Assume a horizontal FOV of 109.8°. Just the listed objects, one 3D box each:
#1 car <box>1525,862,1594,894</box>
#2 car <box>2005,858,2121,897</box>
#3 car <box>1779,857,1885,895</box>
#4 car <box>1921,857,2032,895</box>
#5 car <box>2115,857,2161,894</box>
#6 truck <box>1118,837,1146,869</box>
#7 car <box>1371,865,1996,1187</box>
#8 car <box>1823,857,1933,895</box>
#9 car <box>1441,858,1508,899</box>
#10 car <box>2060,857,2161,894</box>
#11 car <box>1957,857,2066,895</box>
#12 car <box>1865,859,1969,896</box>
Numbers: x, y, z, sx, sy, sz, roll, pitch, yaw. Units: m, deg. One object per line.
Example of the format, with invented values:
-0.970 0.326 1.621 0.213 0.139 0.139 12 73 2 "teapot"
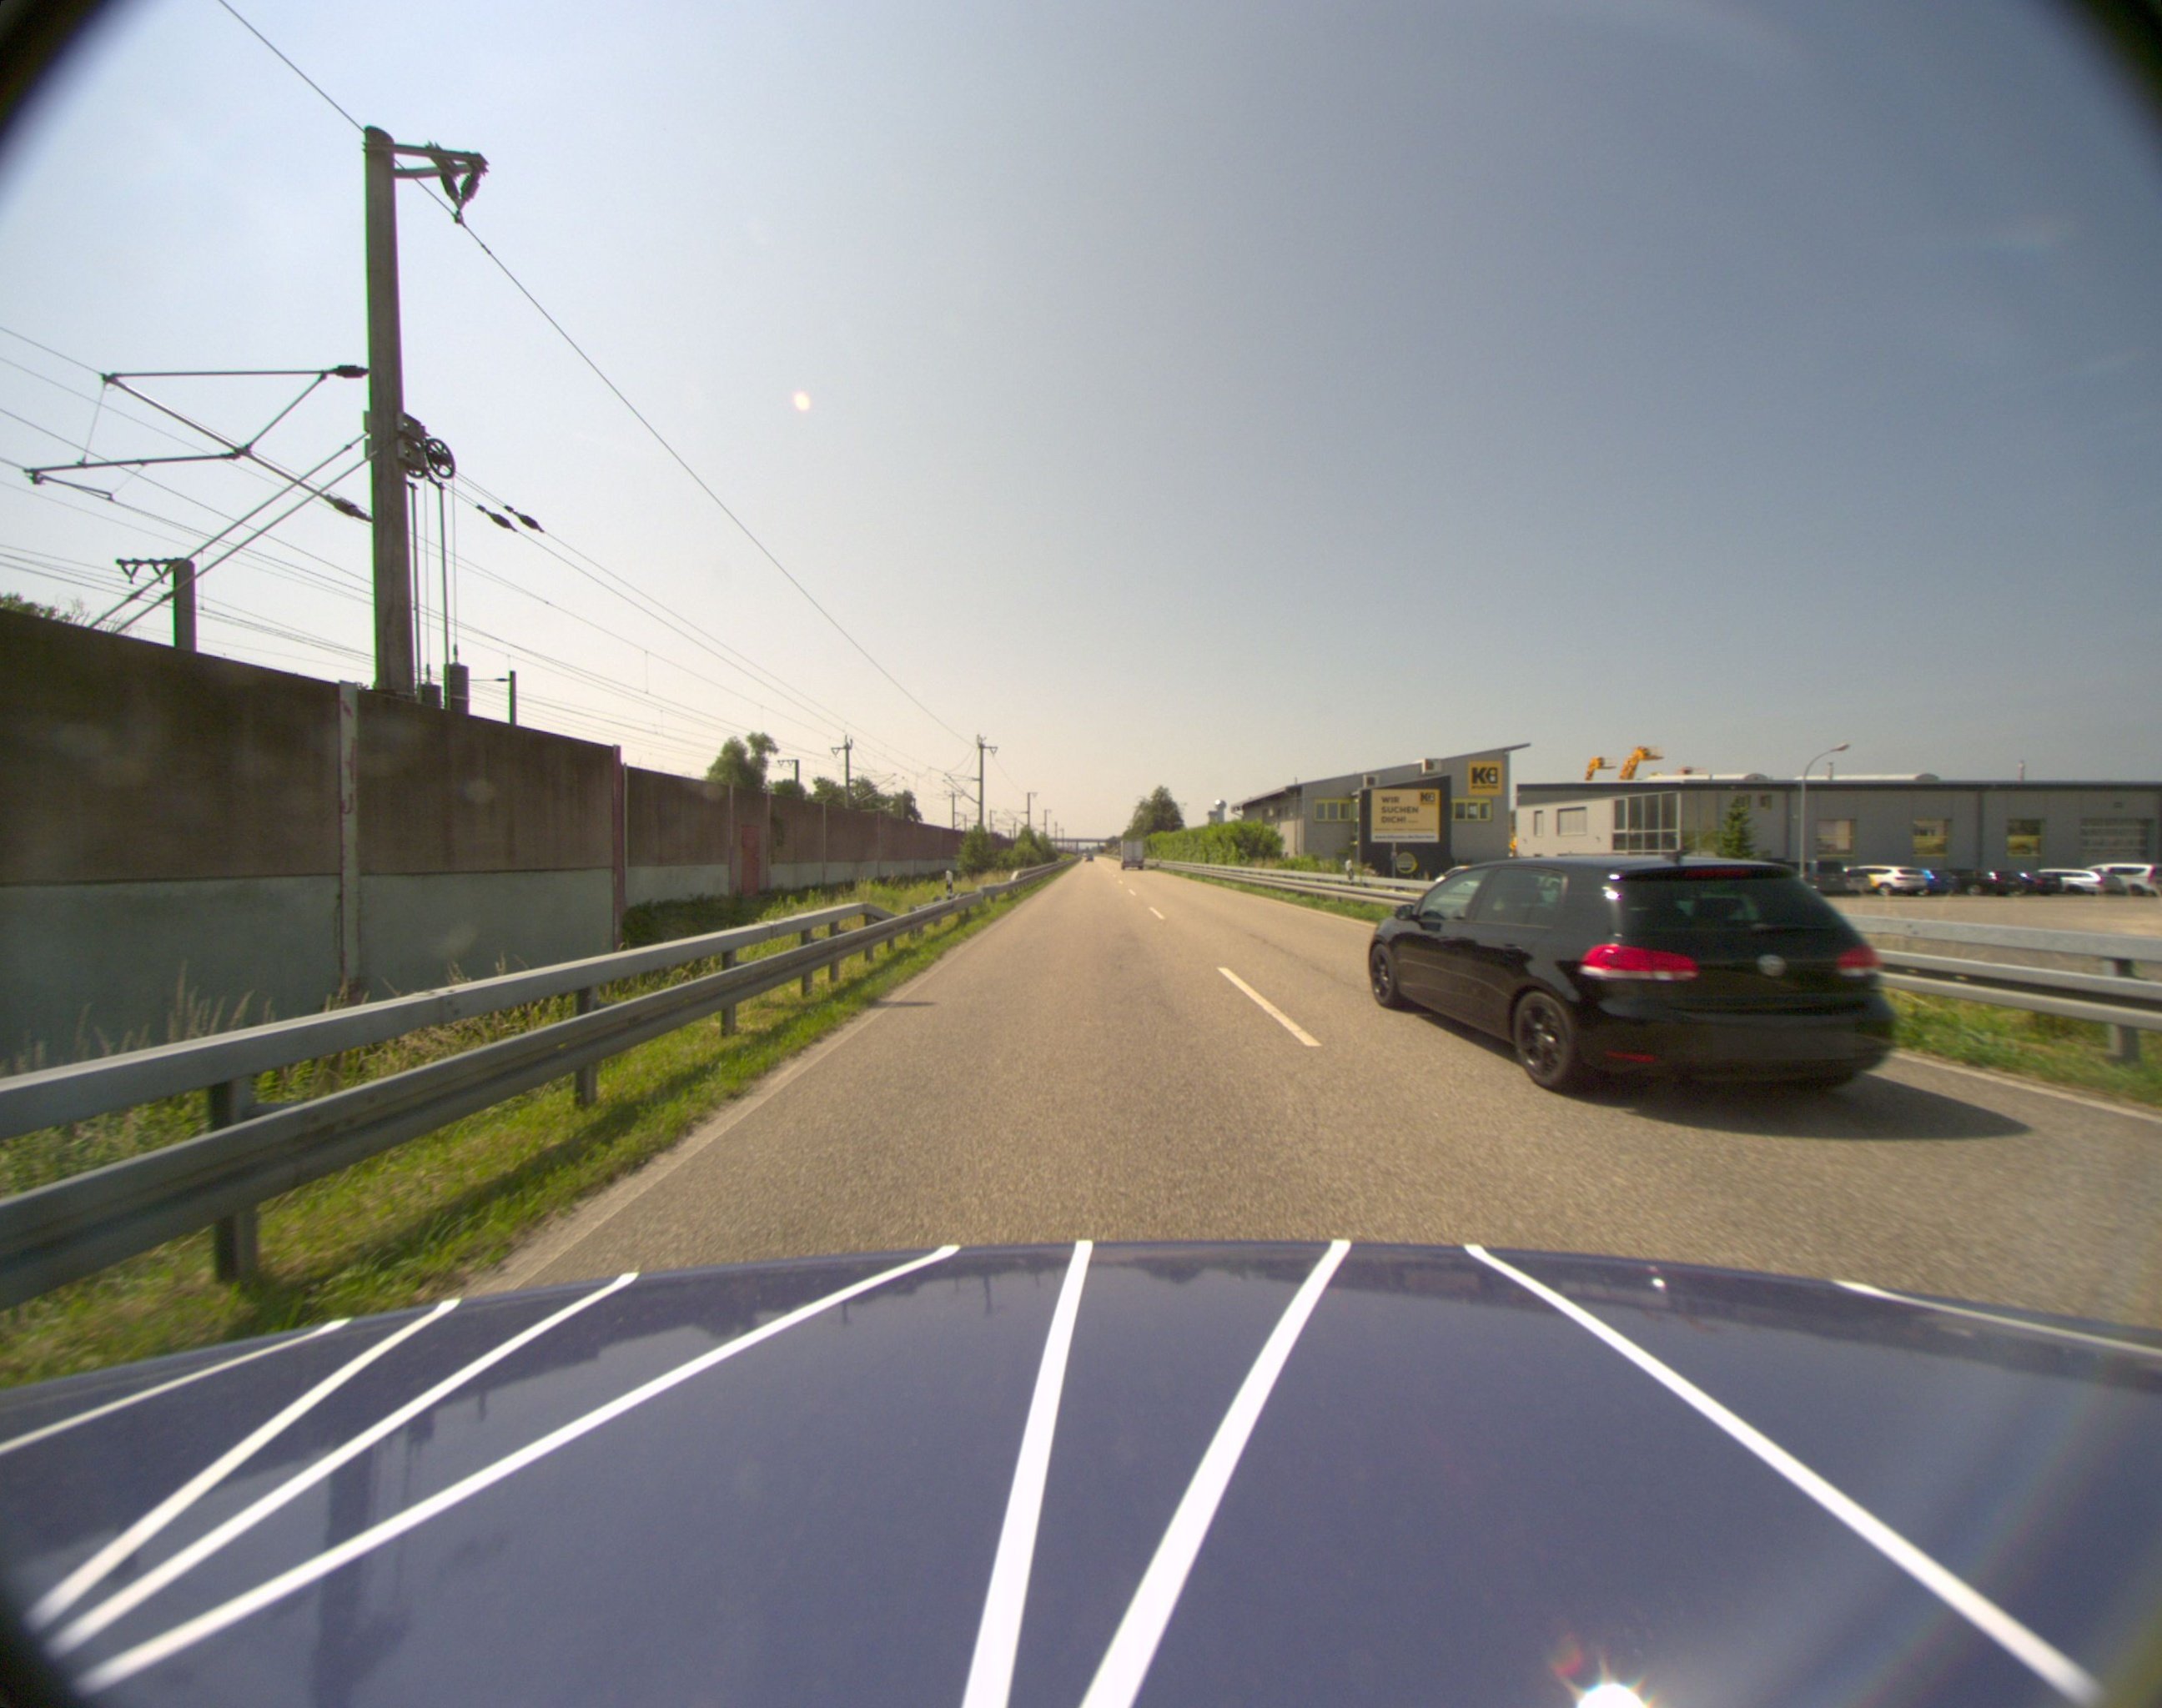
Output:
26.510 1.298 42.199 1.555 1.664 3.311 0 1 -4 "car"
55.711 1.286 43.215 1.834 2.002 3.689 2 0 1 "car"
42.123 1.199 42.777 1.999 2.002 3.999 0 1 0 "car"
49.974 1.187 42.510 1.834 2.002 3.689 2 0 1 "car"
62.631 1.214 43.554 1.834 2.002 3.600 -3 0 1 "car"
5.034 -0.136 75.570 2.242 2.950 6.317 -2 1 -1 "truck"
3.545 0.838 5.416 1.544 1.426 3.654 -2 0 0 "car"
44.817 1.200 42.862 1.999 2.002 3.999 0 1 -1 "car"
20.598 1.225 39.933 1.476 2.002 3.483 2 0 -5 "car"
59.931 1.193 43.746 1.999 2.002 3.999 0 1 0 "car"
52.644 1.181 43.088 1.834 2.002 3.527 2 0 1 "car"
47.358 1.302 43.171 1.834 1.889 3.689 2 0 1 "car"
